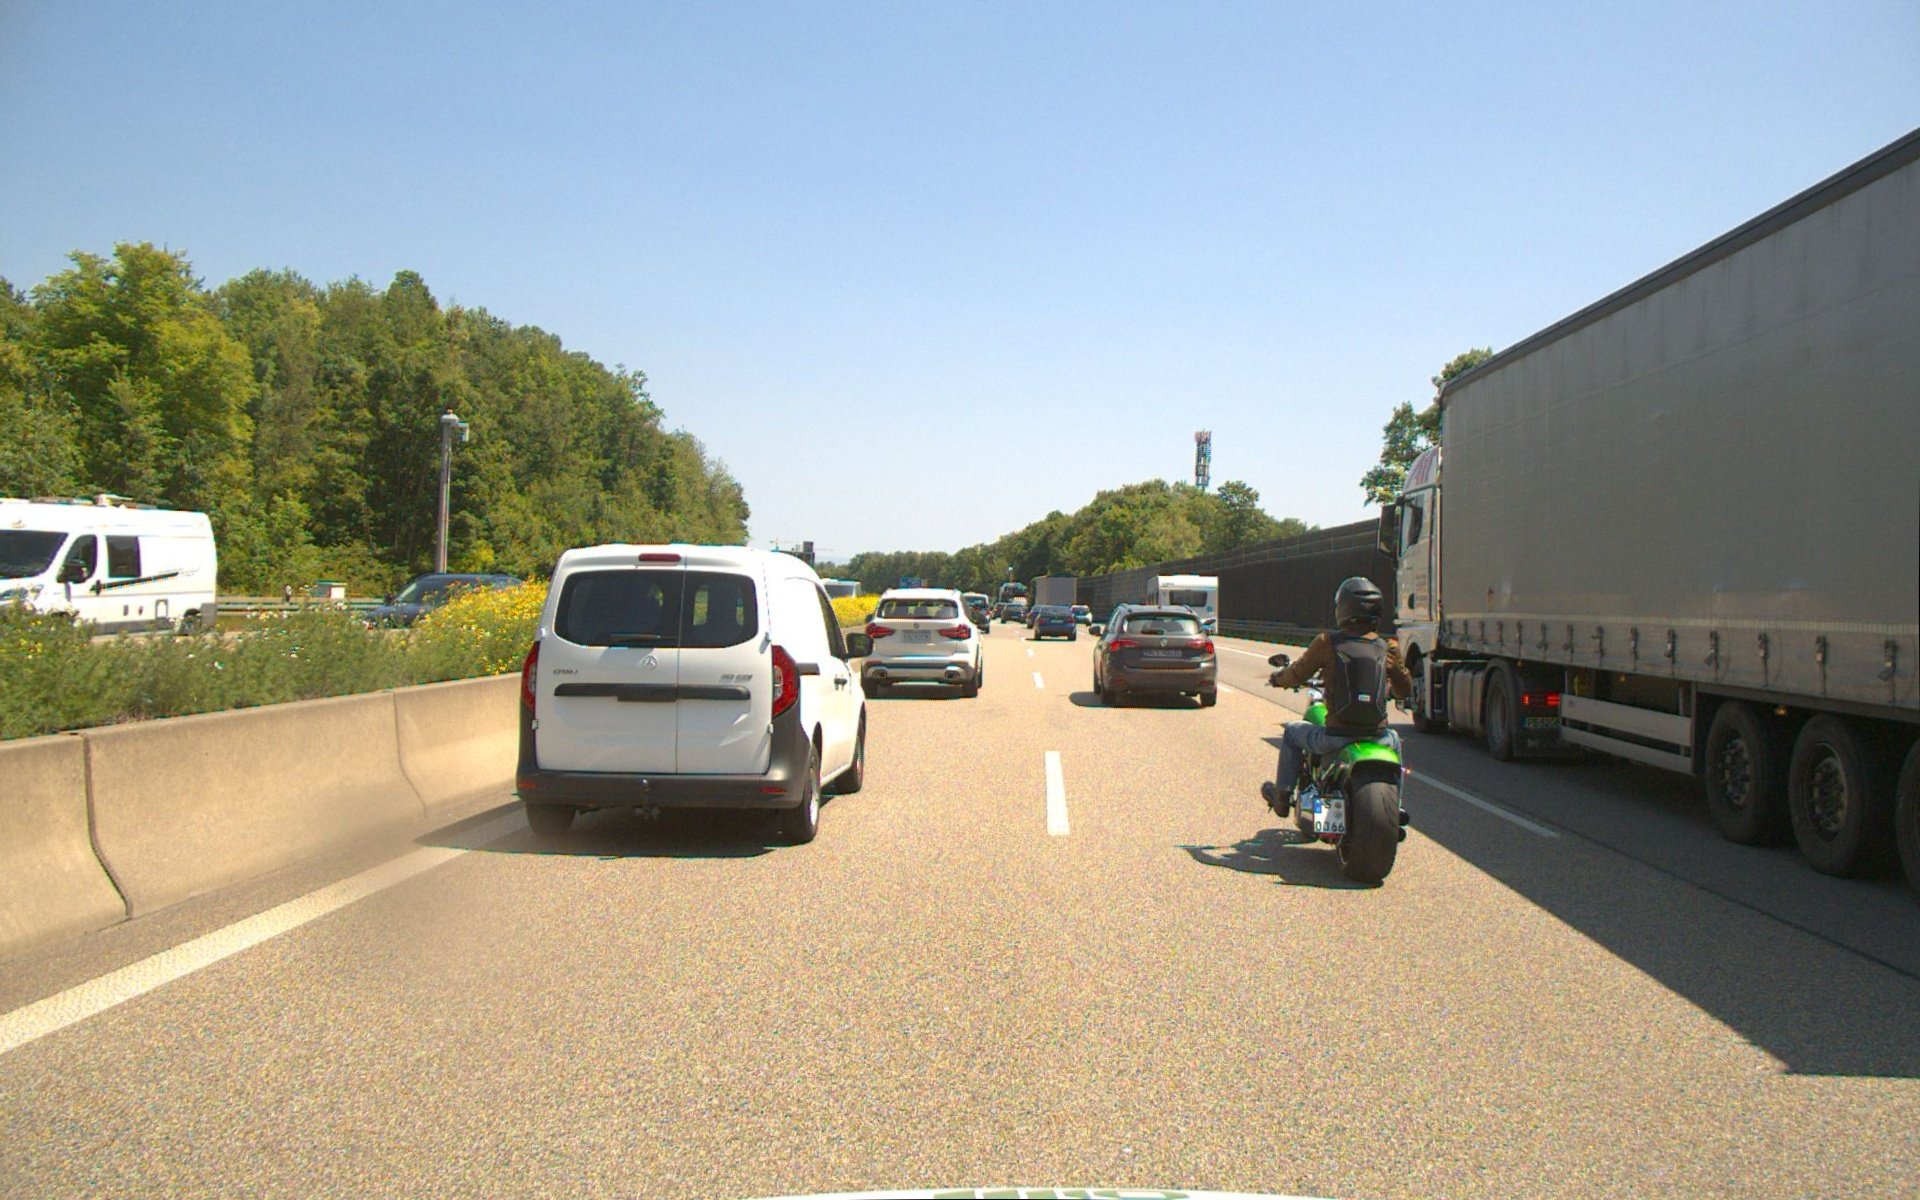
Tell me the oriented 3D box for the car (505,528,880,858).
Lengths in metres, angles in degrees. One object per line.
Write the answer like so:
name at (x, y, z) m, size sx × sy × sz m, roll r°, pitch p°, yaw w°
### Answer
car at (-1.635, 0.537, 11.736) m, size 1.728 × 1.844 × 4.675 m, roll 1°, pitch 0°, yaw 2°

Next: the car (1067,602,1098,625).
car at (9.070, 1.000, 122.859) m, size 1.953 × 1.601 × 3.999 m, roll 1°, pitch -1°, yaw 0°

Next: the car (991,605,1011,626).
car at (4.083, 1.564, 164.099) m, size 1.872 × 2.049 × 3.690 m, roll 1°, pitch -1°, yaw 0°

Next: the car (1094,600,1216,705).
car at (2.962, 0.800, 25.764) m, size 1.627 × 1.478 × 3.870 m, roll 1°, pitch -1°, yaw 3°

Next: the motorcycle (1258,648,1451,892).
motorcycle at (2.320, 0.928, 10.095) m, size 0.944 × 1.168 × 2.814 m, roll 1°, pitch 0°, yaw 10°

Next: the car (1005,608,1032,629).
car at (4.770, 1.497, 135.027) m, size 1.953 × 1.669 × 3.998 m, roll 1°, pitch -1°, yaw -2°

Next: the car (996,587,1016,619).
car at (5.896, 0.342, 211.191) m, size 2.090 × 3.929 × 8.140 m, roll 1°, pitch 0°, yaw -1°

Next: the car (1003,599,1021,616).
car at (6.193, 0.911, 197.533) m, size 2.064 × 1.909 × 3.999 m, roll 1°, pitch -1°, yaw 0°

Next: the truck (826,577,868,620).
truck at (-6.202, -0.070, 91.232) m, size 1.799 × 2.265 × 6.197 m, roll 1°, pitch 0°, yaw 1°

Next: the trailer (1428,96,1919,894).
trailer at (6.542, -0.521, 12.293) m, size 2.825 × 4.109 × 13.800 m, roll 1°, pitch 0°, yaw 3°

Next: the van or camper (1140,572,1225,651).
van or camper at (8.599, 0.507, 64.550) m, size 2.629 × 2.862 × 6.804 m, roll 1°, pitch -1°, yaw 3°

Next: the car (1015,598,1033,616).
car at (7.429, 0.826, 191.923) m, size 2.064 × 1.909 × 4.001 m, roll 1°, pitch -1°, yaw 2°

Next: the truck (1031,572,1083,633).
truck at (8.295, 0.285, 143.213) m, size 3.725 × 5.047 × 8.947 m, roll 1°, pitch -1°, yaw -1°

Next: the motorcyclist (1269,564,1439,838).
motorcyclist at (2.364, 0.576, 10.130) m, size 0.880 × 1.501 × 1.873 m, roll 1°, pitch -1°, yaw 10°

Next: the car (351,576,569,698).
car at (-7.835, 0.585, 26.418) m, size 1.884 × 1.739 × 4.628 m, roll 1°, pitch -1°, yaw 2°

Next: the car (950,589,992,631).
car at (0.549, 0.523, 78.893) m, size 1.859 × 1.906 × 4.413 m, roll 1°, pitch -1°, yaw 2°

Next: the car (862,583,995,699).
car at (-0.426, 0.634, 27.528) m, size 1.825 × 1.724 × 4.958 m, roll 1°, pitch 0°, yaw 3°

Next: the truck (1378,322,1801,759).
truck at (6.903, -0.586, 19.168) m, size 2.825 × 4.218 × 5.988 m, roll 1°, pitch 0°, yaw 3°

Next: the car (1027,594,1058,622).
car at (4.909, 0.457, 98.672) m, size 1.742 × 1.579 × 3.586 m, roll 1°, pitch 0°, yaw 2°

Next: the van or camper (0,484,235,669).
van or camper at (-14.626, -0.363, 27.654) m, size 2.042 × 2.748 × 6.154 m, roll 1°, pitch 0°, yaw 2°

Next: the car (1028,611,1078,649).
car at (3.745, 1.228, 66.767) m, size 1.952 × 1.455 × 3.848 m, roll 1°, pitch -1°, yaw 3°

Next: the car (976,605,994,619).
car at (2.834, 1.356, 185.779) m, size 1.795 × 1.522 × 3.742 m, roll 1°, pitch -1°, yaw -2°

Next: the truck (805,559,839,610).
truck at (-15.772, -1.725, 189.802) m, size 3.411 × 5.369 × 10.011 m, roll 1°, pitch -2°, yaw -3°
